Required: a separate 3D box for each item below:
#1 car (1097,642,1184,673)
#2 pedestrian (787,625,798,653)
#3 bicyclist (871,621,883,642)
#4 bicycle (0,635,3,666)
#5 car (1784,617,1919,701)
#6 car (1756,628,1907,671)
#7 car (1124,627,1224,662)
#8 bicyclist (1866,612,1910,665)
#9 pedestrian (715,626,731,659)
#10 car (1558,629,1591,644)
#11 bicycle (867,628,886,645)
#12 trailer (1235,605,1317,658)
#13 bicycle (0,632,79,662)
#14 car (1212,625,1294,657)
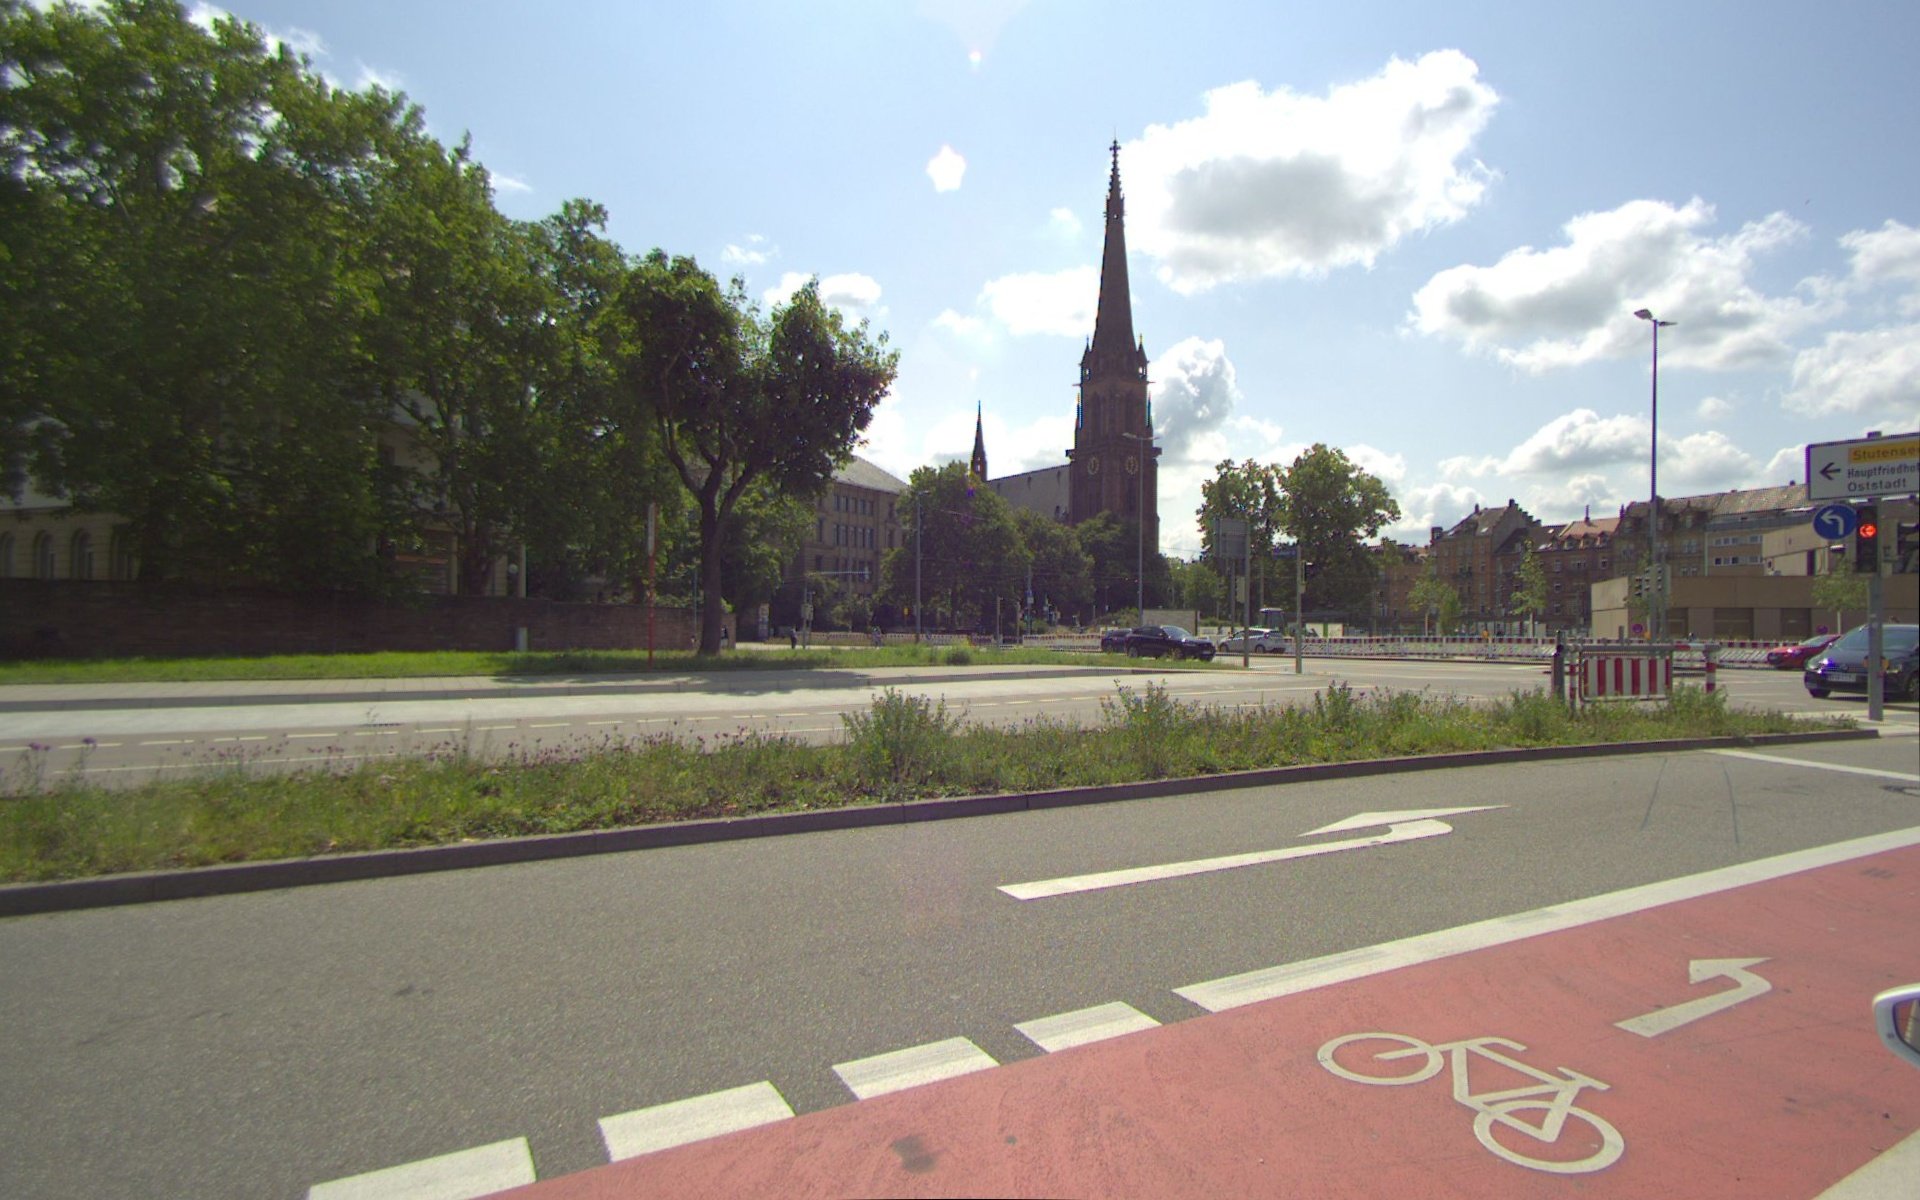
[{"bbox_3d":[9.679,3.068,54.144,1.980,1.505,4.623,1,-2,-35],"label":"car"},{"bbox_3d":[-11.246,2.601,67.528,0.561,1.844,0.436,2,0,42],"label":"pedestrian"},{"bbox_3d":[-6.200,2.344,74.753,0.659,1.553,0.642,2,0,-28],"label":"bicyclist"},{"bbox_3d":[-25.843,1.311,26.010,0.391,0.799,1.463,0,-2,32],"label":"bicycle"},{"bbox_3d":[20.081,1.237,21.812,4.100,1.645,1.875,1,0,-26],"label":"car"},{"bbox_3d":[32.737,1.834,37.878,3.829,1.505,2.000,0,-2,21],"label":"car"},{"bbox_3d":[9.611,1.982,45.447,1.977,1.505,4.474,1,-2,-31],"label":"car"},{"bbox_3d":[29.238,1.207,31.648,0.832,1.640,0.773,1,-1,-28],"label":"bicyclist"},{"bbox_3d":[-12.382,2.205,52.511,0.479,1.718,0.679,2,0,20],"label":"pedestrian"},{"bbox_3d":[98.810,5.859,161.596,1.972,2.374,4.096,2,-1,-24],"label":"car"},{"bbox_3d":[-6.196,2.703,74.718,0.659,1.161,2.053,2,-1,-28],"label":"bicycle"},{"bbox_3d":[18.785,1.865,59.922,4.278,2.952,2.001,2,0,6],"label":"trailer"},{"bbox_3d":[-25.009,1.263,27.310,0.391,0.799,1.540,0,-2,32],"label":"bicycle"},{"bbox_3d":[15.789,2.174,54.272,1.977,1.528,3.985,2,-1,-30],"label":"car"}]
